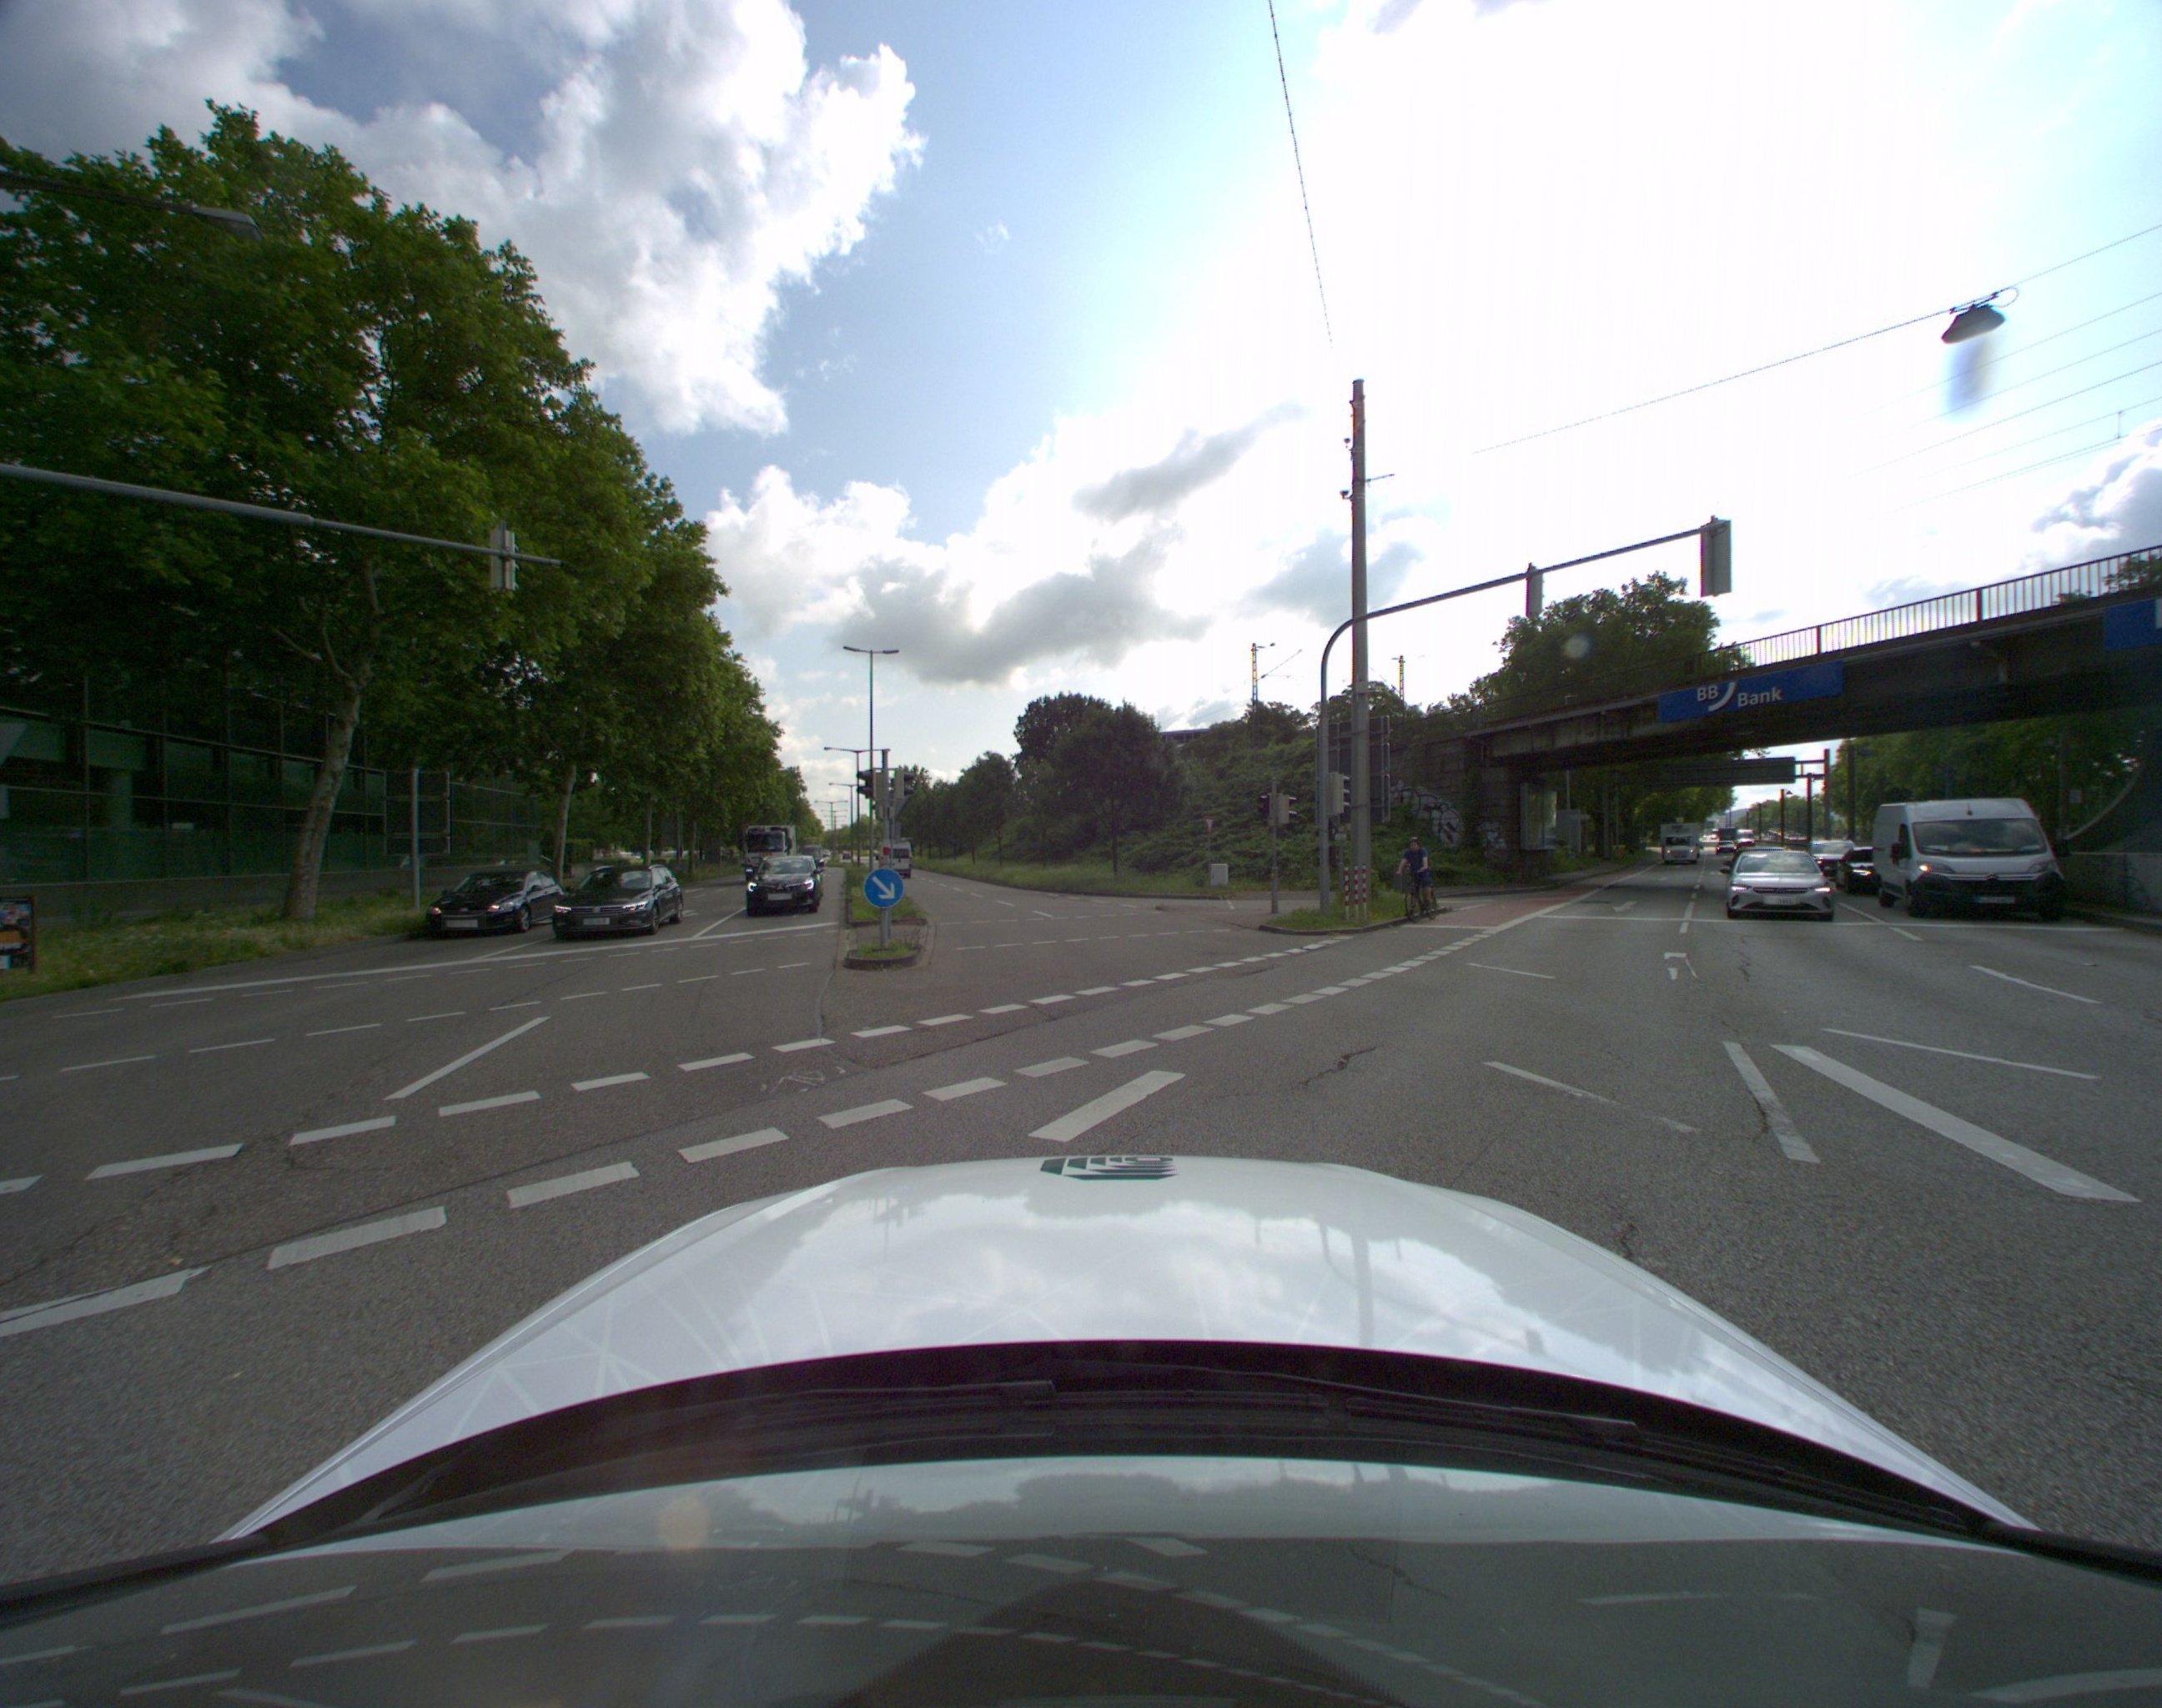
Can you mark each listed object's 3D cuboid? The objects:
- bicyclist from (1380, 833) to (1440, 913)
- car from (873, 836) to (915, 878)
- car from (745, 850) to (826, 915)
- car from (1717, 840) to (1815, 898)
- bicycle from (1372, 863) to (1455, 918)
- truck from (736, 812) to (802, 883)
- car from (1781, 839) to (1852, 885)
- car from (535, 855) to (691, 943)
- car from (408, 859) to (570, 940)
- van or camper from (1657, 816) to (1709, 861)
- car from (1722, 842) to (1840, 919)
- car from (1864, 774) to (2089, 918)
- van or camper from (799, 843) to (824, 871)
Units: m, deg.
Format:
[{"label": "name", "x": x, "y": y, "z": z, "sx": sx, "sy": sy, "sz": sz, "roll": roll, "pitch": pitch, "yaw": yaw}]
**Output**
[{"label": "bicyclist", "x": 7.221, "y": 0.415, "z": 17.872, "sx": 0.828, "sy": 1.679, "sz": 0.834, "roll": -1, "pitch": -4, "yaw": -44}, {"label": "car", "x": -13.047, "y": 0.145, "z": 56.490, "sx": 2.205, "sy": 2.726, "sz": 4.899, "roll": -2, "pitch": 1, "yaw": -20}, {"label": "car", "x": -8.296, "y": 0.729, "z": 23.188, "sx": 1.711, "sy": 1.587, "sz": 4.339, "roll": -3, "pitch": 1, "yaw": -15}, {"label": "car", "x": 21.303, "y": 0.458, "z": 25.490, "sx": 1.747, "sy": 1.583, "sz": 4.693, "roll": -5, "pitch": -2, "yaw": 34}, {"label": "bicycle", "x": 7.372, "y": 0.768, "z": 17.995, "sx": 2.332, "sy": 1.093, "sz": 0.835, "roll": -1, "pitch": 0, "yaw": -45}, {"label": "truck", "x": -19.354, "y": -0.395, "z": 51.040, "sx": 2.655, "sy": 3.887, "sz": 10.107, "roll": -3, "pitch": 1, "yaw": -15}, {"label": "car", "x": 29.289, "y": 0.270, "z": 32.527, "sx": 1.830, "sy": 1.575, "sz": 4.344, "roll": -2, "pitch": 1, "yaw": 39}, {"label": "car", "x": -10.191, "y": 0.870, "z": 18.143, "sx": 1.868, "sy": 1.574, "sz": 4.546, "roll": -1, "pitch": 1, "yaw": -15}, {"label": "car", "x": -13.637, "y": 0.992, "z": 19.050, "sx": 1.733, "sy": 1.572, "sz": 3.978, "roll": -3, "pitch": -1, "yaw": -16}, {"label": "van or camper", "x": 45.193, "y": -1.226, "z": 61.086, "sx": 2.631, "sy": 3.080, "sz": 5.785, "roll": -2, "pitch": 1, "yaw": 41}, {"label": "car", "x": 15.249, "y": 0.513, "z": 17.912, "sx": 1.686, "sy": 1.476, "sz": 4.026, "roll": -2, "pitch": -1, "yaw": 37}, {"label": "car", "x": 19.099, "y": -0.108, "z": 17.735, "sx": 2.236, "sy": 2.527, "sz": 5.662, "roll": -8, "pitch": -5, "yaw": 39}, {"label": "van or camper", "x": -27.535, "y": 0.316, "z": 83.164, "sx": 2.111, "sy": 2.659, "sz": 6.675, "roll": -4, "pitch": 1, "yaw": -18}]
